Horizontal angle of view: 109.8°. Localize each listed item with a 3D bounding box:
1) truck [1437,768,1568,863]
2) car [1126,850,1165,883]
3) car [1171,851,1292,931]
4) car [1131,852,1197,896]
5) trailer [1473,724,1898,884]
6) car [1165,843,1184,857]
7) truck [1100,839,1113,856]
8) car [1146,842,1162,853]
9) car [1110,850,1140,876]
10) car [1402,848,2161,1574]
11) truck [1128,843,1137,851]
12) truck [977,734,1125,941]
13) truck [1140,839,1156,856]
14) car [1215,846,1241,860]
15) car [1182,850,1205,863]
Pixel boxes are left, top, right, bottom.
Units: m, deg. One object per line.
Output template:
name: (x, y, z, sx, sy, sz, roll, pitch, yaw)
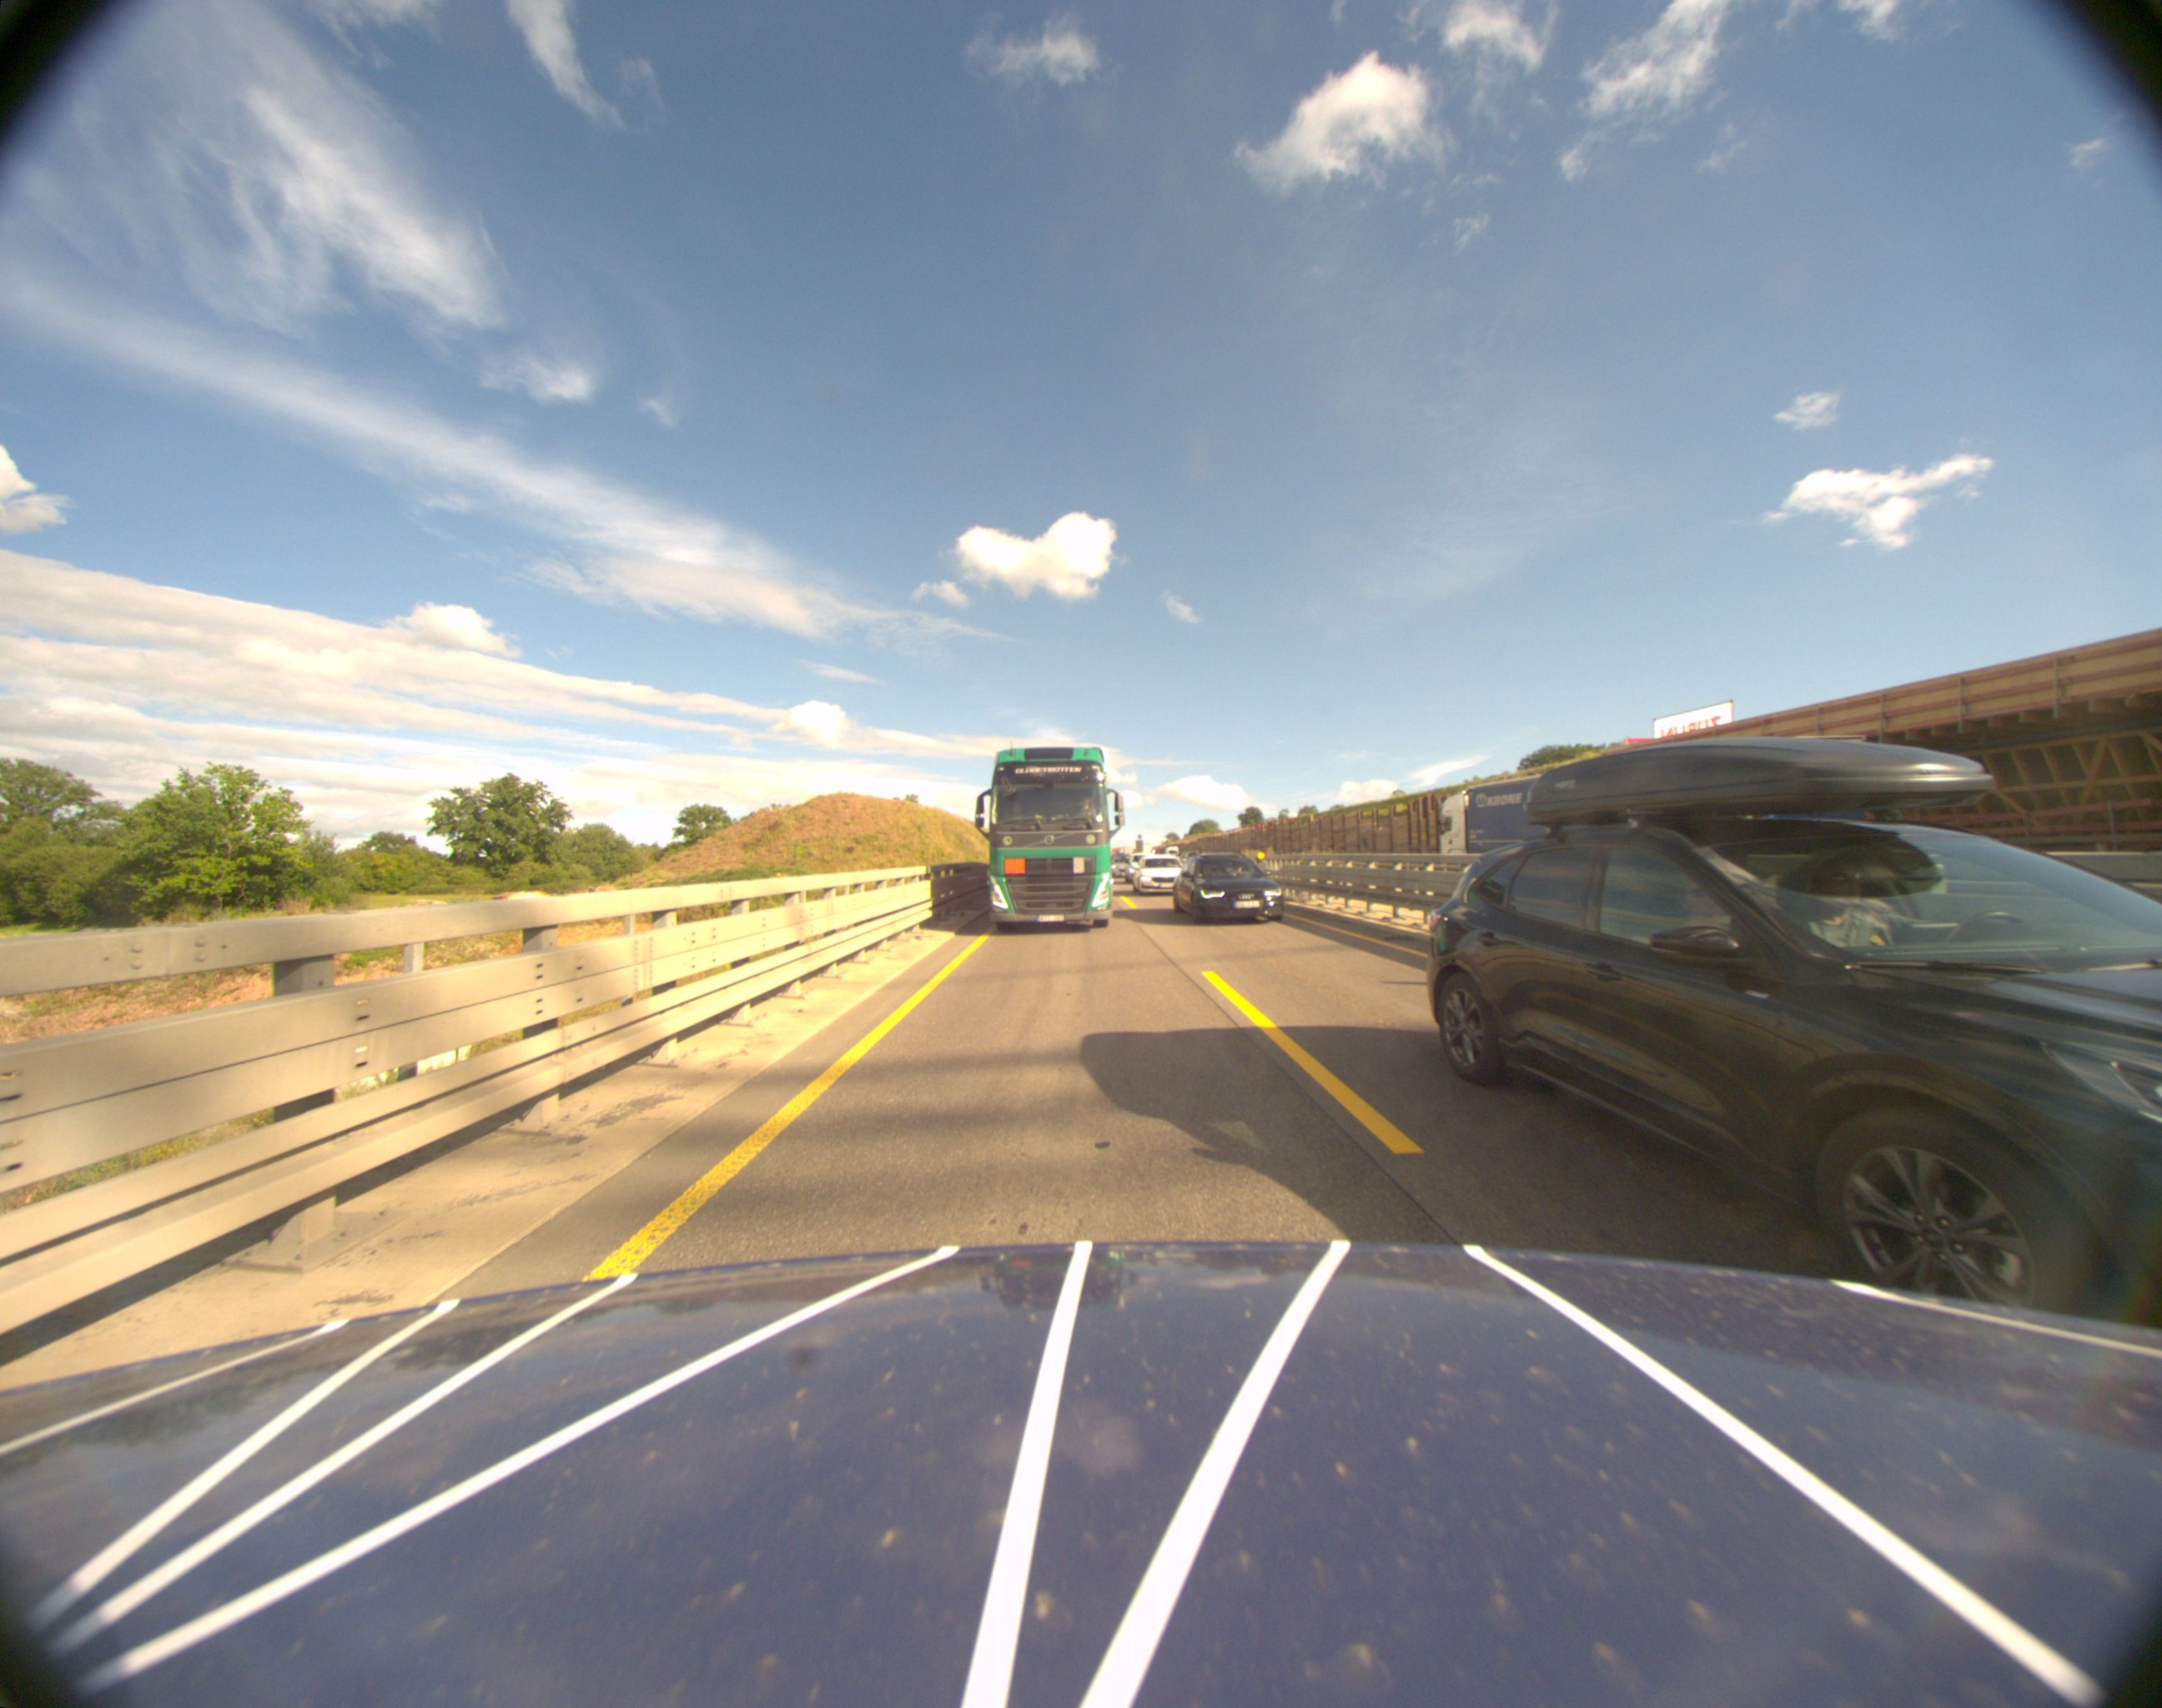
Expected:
truck: (17.619, -1.541, 32.126, 2.849, 3.608, 4.809, -2, 1, 0)
car: (3.336, 0.625, 40.085, 1.659, 1.510, 3.999, -2, 1, 0)
car: (3.271, 0.739, 17.418, 1.949, 1.422, 4.504, -2, 1, 1)
car: (3.040, 0.719, 28.713, 1.949, 1.422, 4.409, -3, -1, 0)
trailer: (17.685, -1.286, 24.587, 2.870, 3.646, 13.525, -2, 1, 0)
car: (16.814, -0.703, 137.399, 2.572, 2.329, 6.404, -2, 1, 0)
truck: (5.873, -1.603, 175.700, 2.663, 3.825, 10.315, -2, 1, 0)
car: (15.962, -1.498, 166.904, 2.887, 2.329, 6.404, -2, 1, 0)
car: (2.854, 0.581, 49.517, 1.659, 1.510, 3.999, -2, 1, 0)
car: (3.221, 0.772, 3.254, 1.804, 1.533, 4.384, -2, 0, 0)
truck: (16.874, -2.455, 250.128, 2.383, 2.503, 6.552, -2, 1, 0)
truck: (-0.584, -0.394, 19.520, 2.663, 3.825, 10.315, -2, 1, 0)
truck: (16.714, -1.656, 189.430, 3.178, 3.843, 8.232, -2, 1, 0)
car: (16.736, -0.175, 86.813, 1.949, 1.422, 4.406, -3, 1, -1)
car: (13.478, 0.274, 91.437, 1.949, 1.422, 4.406, -3, 1, -1)
